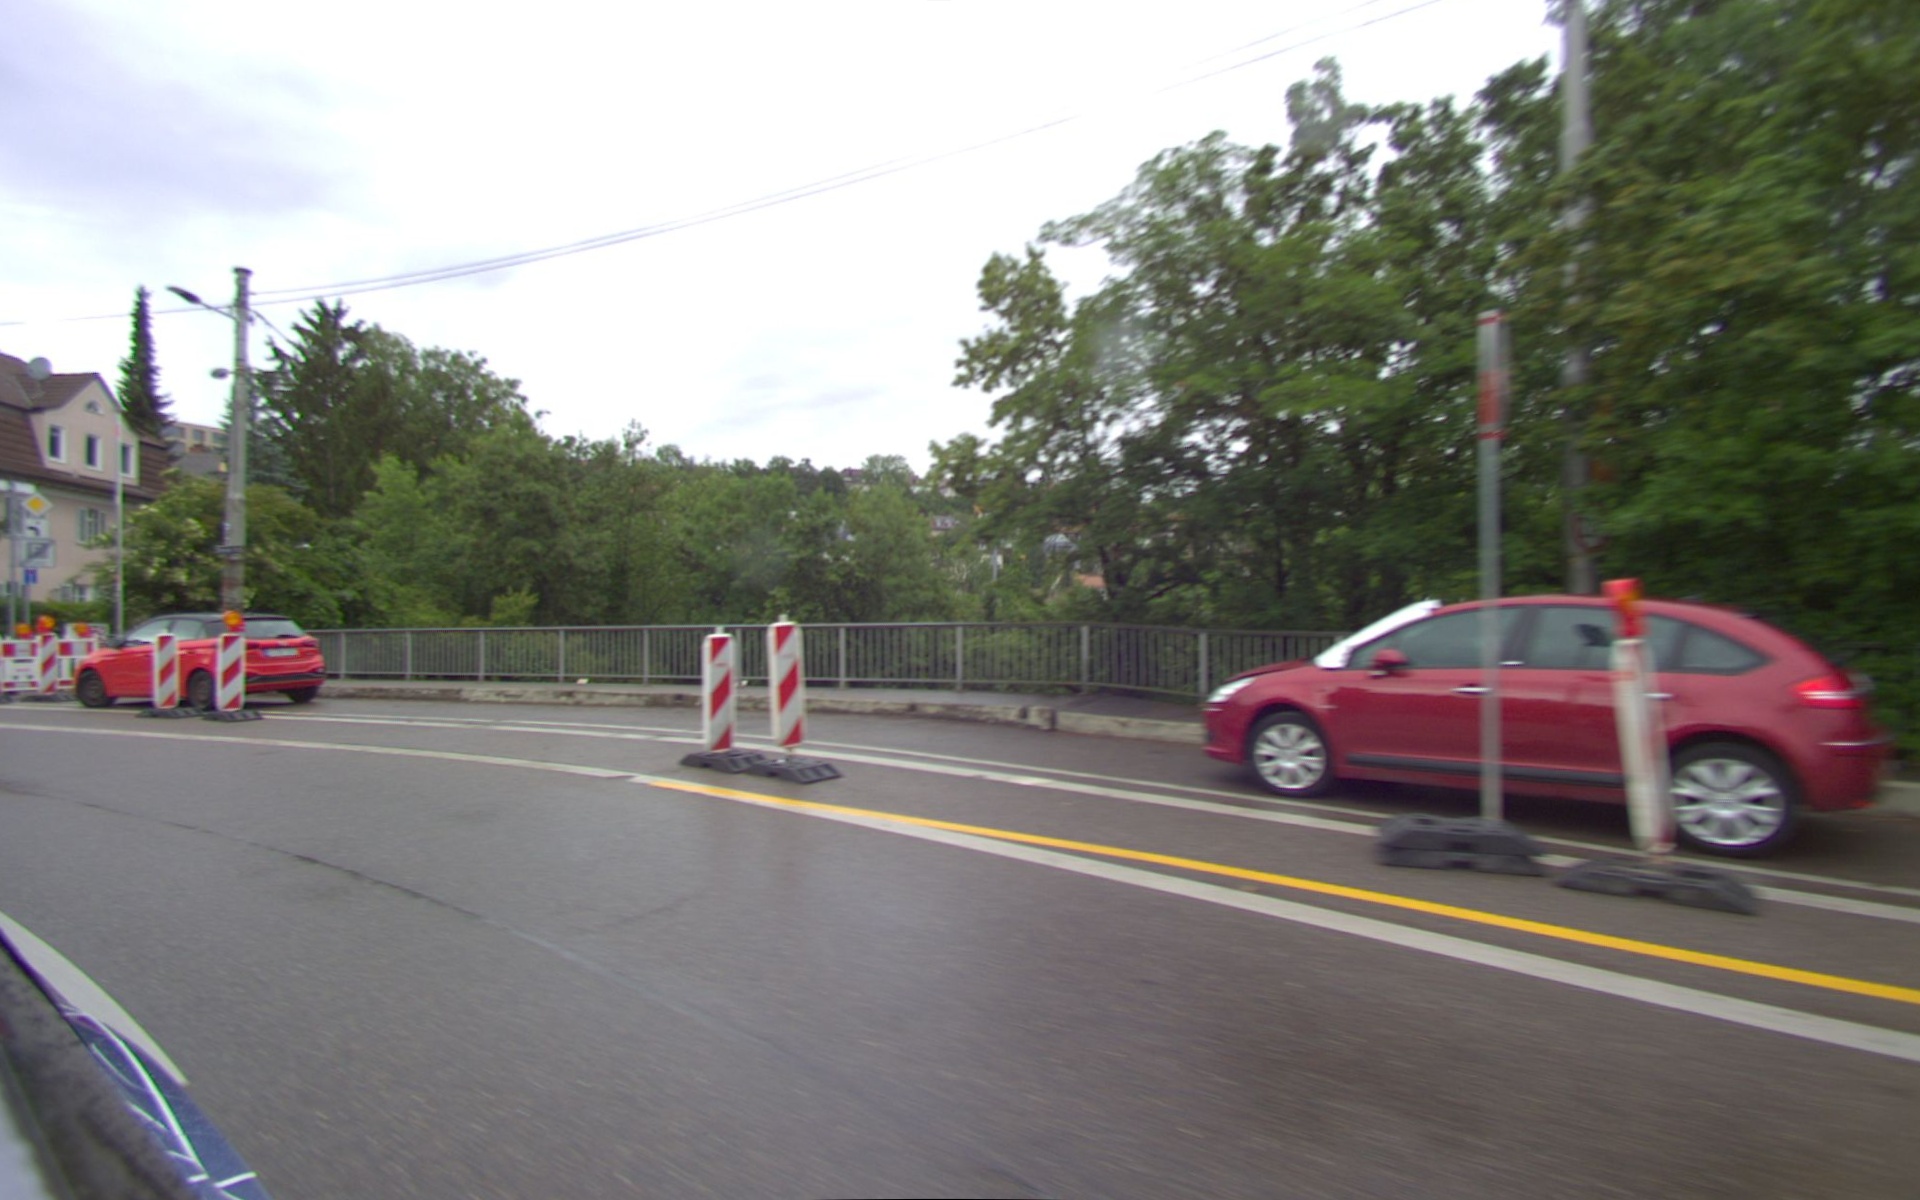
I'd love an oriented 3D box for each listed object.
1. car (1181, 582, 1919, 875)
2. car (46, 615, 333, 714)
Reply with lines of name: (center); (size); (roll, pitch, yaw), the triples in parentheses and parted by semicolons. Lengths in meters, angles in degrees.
car: (3.959, 0.663, 7.099); (4.323, 1.451, 1.938); (-1, -1, 44)
car: (-12.311, 0.962, 16.190); (4.104, 1.409, 1.680); (0, -1, 20)
